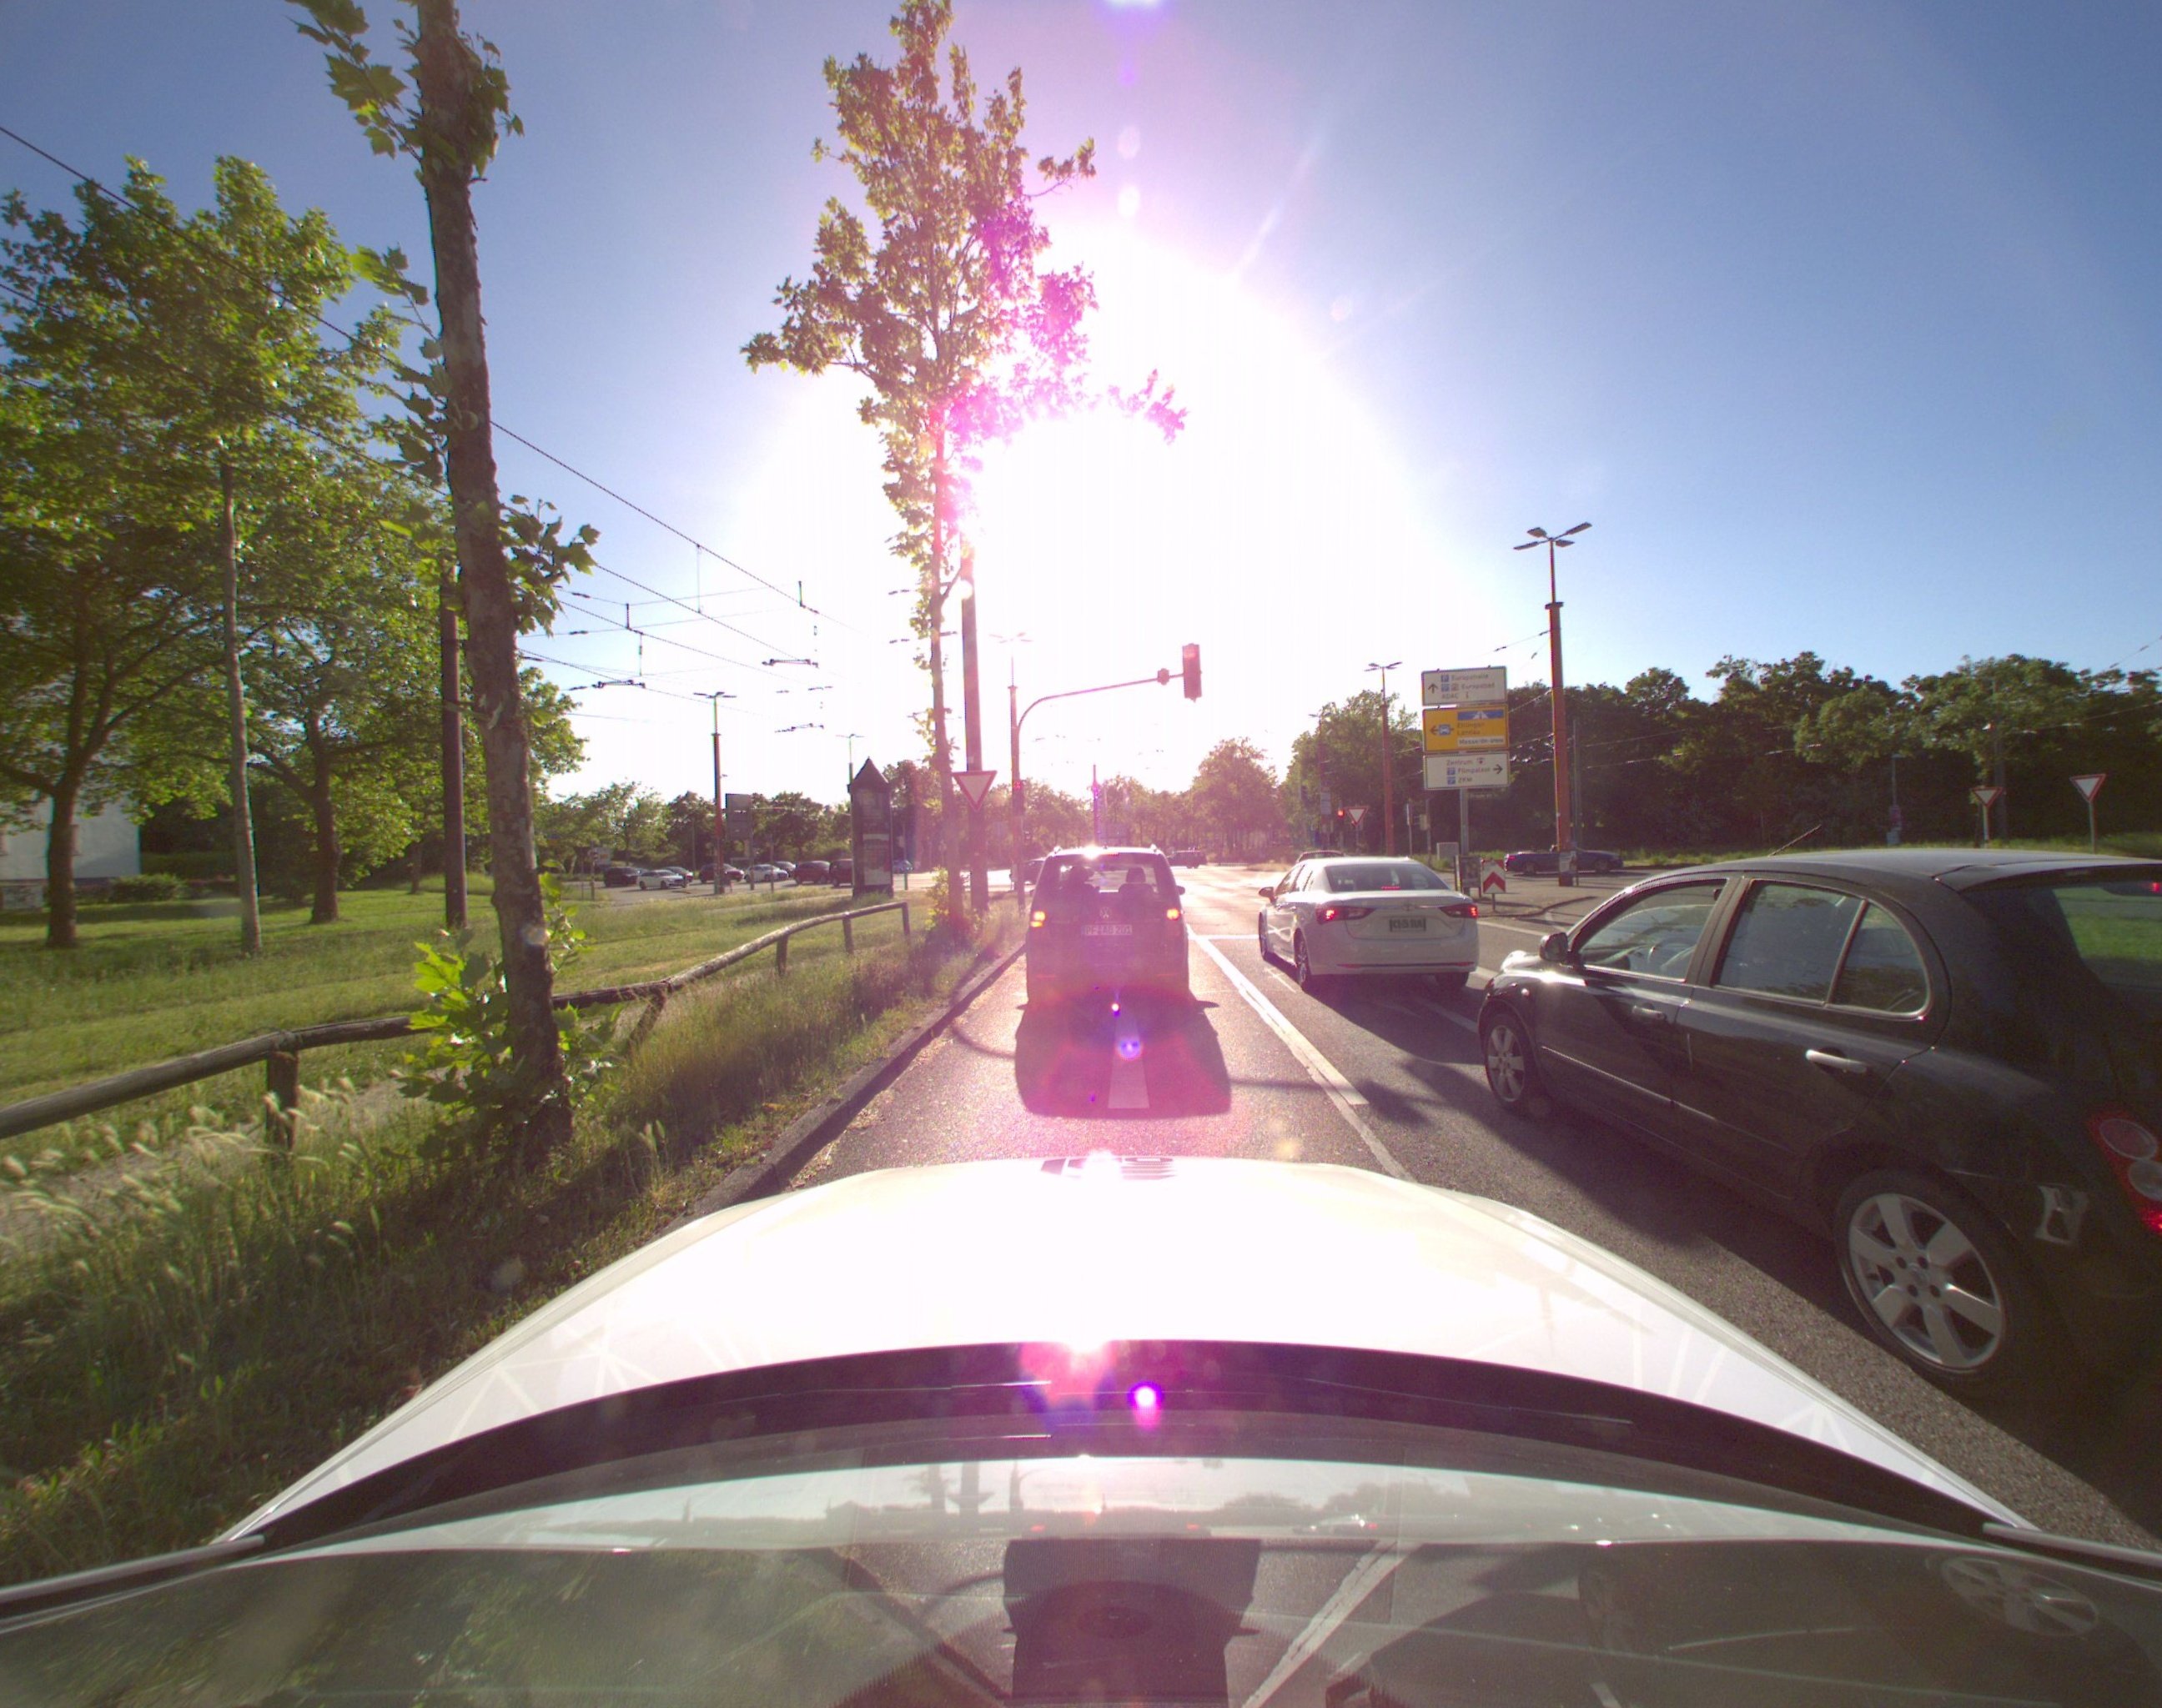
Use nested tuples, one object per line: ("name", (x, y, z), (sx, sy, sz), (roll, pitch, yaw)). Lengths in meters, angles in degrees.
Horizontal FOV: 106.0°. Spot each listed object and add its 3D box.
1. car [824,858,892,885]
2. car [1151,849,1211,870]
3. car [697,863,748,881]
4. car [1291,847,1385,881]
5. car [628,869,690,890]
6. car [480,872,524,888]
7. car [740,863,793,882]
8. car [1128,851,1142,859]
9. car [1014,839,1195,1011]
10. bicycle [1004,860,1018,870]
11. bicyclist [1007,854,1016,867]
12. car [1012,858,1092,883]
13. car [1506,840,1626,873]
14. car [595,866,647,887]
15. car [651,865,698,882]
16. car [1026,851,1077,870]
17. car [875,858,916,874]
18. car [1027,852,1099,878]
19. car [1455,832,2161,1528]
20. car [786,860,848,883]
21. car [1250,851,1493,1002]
("car", (-14.995, 1.165, 54.618), (4.302, 1.732, 1.854), (-2, 0, 30))
("car", (8.296, 0.451, 67.656), (4.411, 1.596, 2.012), (-2, 0, 28))
("car", (-31.722, 1.572, 72.065), (4.318, 1.464, 1.926), (-2, 0, 29))
("car", (12.185, 0.492, 38.677), (3.949, 1.494, 1.782), (-2, 0, 29))
("car", (-33.498, 2.014, 64.654), (4.867, 1.575, 2.012), (-2, 0, 29))
("car", (-60.074, 2.679, 84.478), (4.735, 1.598, 1.926), (-2, 0, 29))
("car", (-26.775, 1.594, 69.245), (4.169, 1.464, 1.926), (-2, 0, 29))
("car", (11.264, 0.169, 169.847), (1.979, 1.684, 4.846), (-2, 0, 13))
("car", (0.293, 0.698, 9.983), (1.731, 1.641, 4.002), (-2, 0, 2))
("bicycle", (-8.150, 1.229, 94.786), (0.728, 1.090, 1.971), (-2, 0, 21))
("bicyclist", (-8.120, 0.762, 95.007), (0.686, 1.457, 0.879), (-2, -1, 20))
("car", (-1.681, 0.943, 46.892), (4.262, 1.327, 1.772), (-2, 0, 31))
("car", (22.062, 0.108, 37.202), (4.608, 1.362, 1.782), (-2, 0, 31))
("car", (-41.837, 2.047, 74.014), (4.735, 1.836, 1.926), (-2, 0, 29))
("car", (-37.357, 1.777, 74.834), (4.004, 1.464, 1.926), (-2, 0, 28))
("car", (-2.775, 0.614, 76.611), (4.411, 1.596, 2.012), (-2, 0, 28))
("car", (-19.718, 1.270, 86.594), (3.949, 1.580, 2.012), (-2, 0, 29))
("car", (-1.123, 0.685, 51.045), (4.179, 1.479, 1.765), (-2, 0, 32))
("car", (3.165, 0.695, 3.507), (1.550, 1.506, 3.517), (-2, 0, 2))
("car", (-19.933, 1.327, 61.394), (4.507, 1.668, 1.854), (-2, 0, 30))
("car", (3.294, 0.721, 10.110), (1.708, 1.454, 4.147), (-2, 0, 3))
